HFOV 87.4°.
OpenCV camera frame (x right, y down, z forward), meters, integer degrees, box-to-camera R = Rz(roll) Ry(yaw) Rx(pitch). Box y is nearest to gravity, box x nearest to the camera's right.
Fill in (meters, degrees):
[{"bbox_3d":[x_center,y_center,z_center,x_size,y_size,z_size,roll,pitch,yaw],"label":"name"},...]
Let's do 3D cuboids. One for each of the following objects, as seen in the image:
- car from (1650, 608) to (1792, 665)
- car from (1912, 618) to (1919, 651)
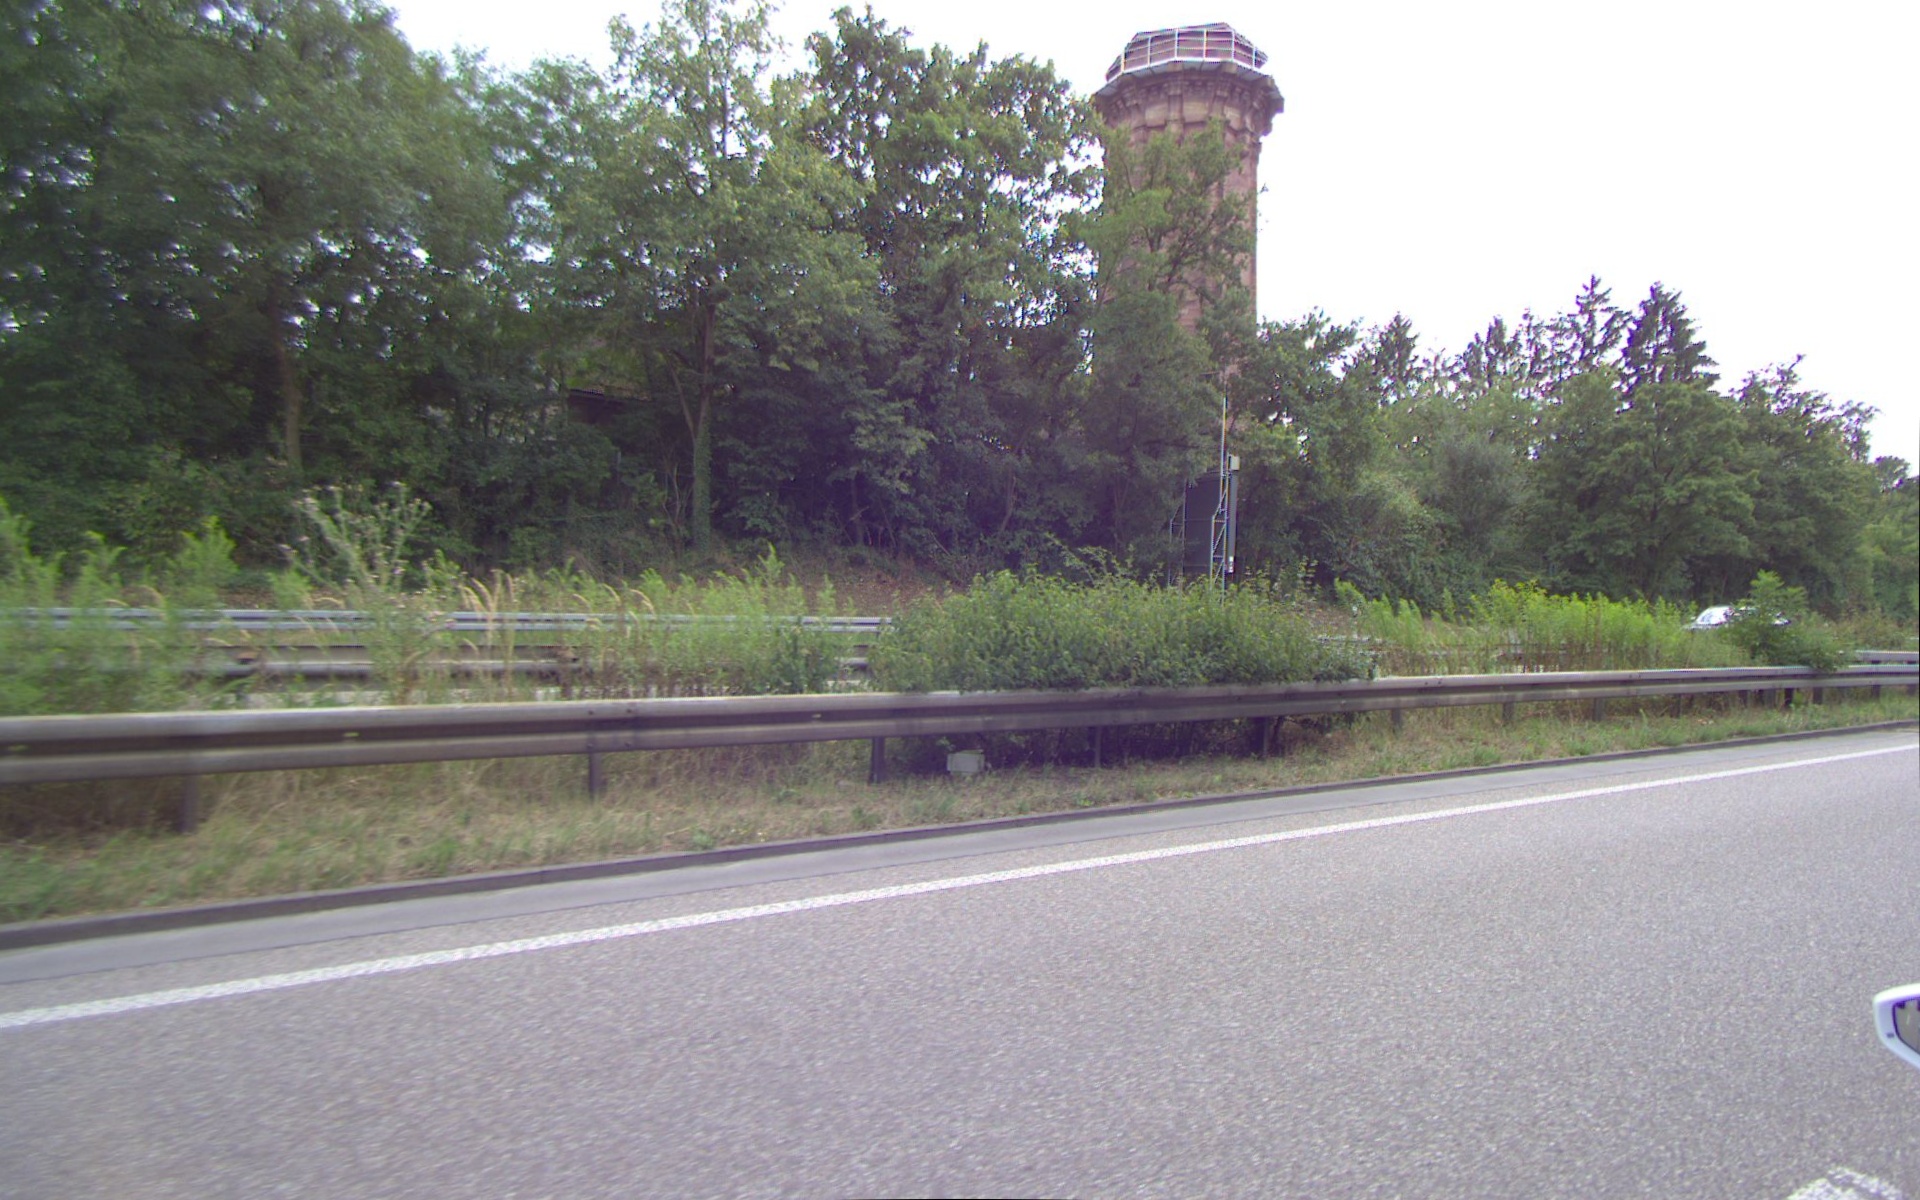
[{"bbox_3d":[24.061,1.150,31.726,4.718,1.679,1.983,2,-1,-31],"label":"car"},{"bbox_3d":[47.308,1.683,48.112,3.686,1.528,1.620,2,-1,-32],"label":"car"}]
